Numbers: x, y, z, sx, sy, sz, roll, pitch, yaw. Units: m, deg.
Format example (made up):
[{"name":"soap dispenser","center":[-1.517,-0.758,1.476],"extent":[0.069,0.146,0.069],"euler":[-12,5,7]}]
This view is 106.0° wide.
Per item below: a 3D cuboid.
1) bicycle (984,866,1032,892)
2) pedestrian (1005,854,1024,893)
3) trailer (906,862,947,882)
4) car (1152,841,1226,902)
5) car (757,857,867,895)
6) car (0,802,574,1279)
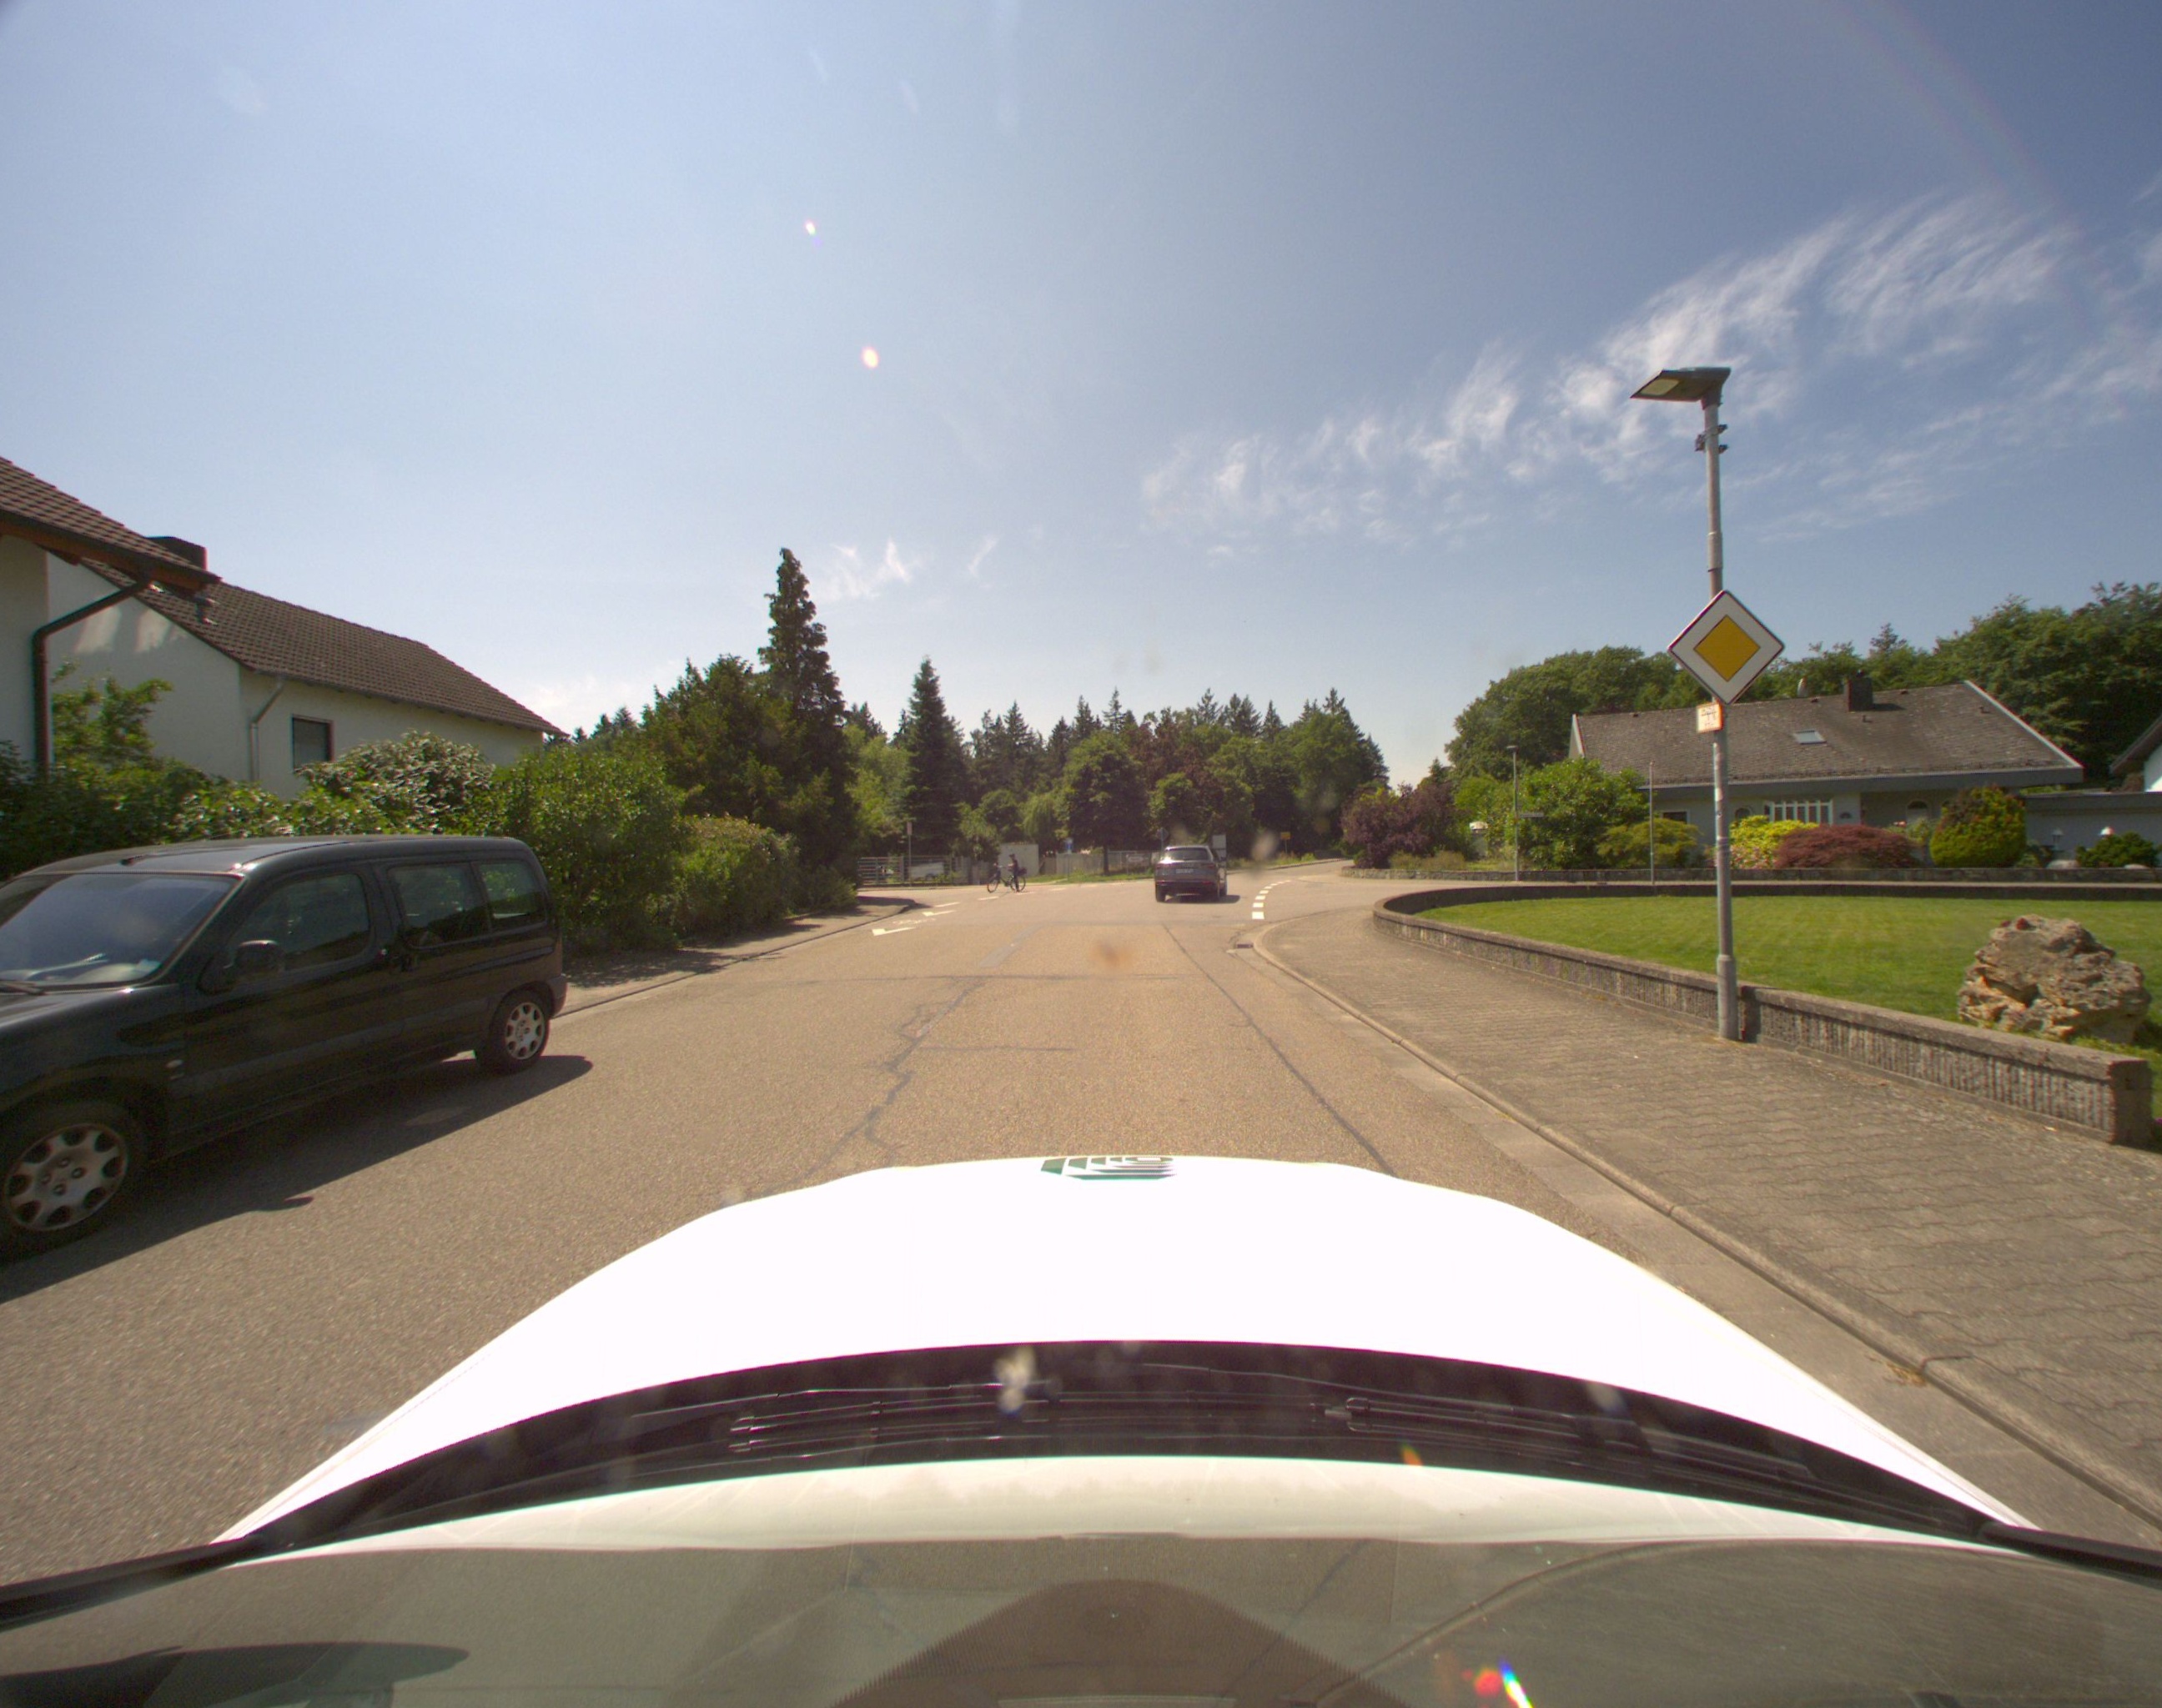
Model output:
[{"name":"bicycle","center":[-2.912,0.999,32.606],"extent":[1.847,0.964,0.440],"euler":[-2,0,-18]},{"name":"pedestrian","center":[-2.629,0.759,32.244],"extent":[0.611,1.501,0.502],"euler":[-1,0,-15]},{"name":"trailer","center":[-8.995,1.042,47.448],"extent":[2.213,1.084,1.104],"euler":[-1,0,-7]},{"name":"car","center":[3.247,0.467,23.887],"extent":[1.750,1.618,4.015],"euler":[0,0,14]},{"name":"car","center":[-13.109,1.060,39.919],"extent":[4.649,1.662,1.970],"euler":[-1,0,2]},{"name":"car","center":[-5.042,0.740,4.637],"extent":[1.712,1.846,4.054],"euler":[-1,0,0]}]
